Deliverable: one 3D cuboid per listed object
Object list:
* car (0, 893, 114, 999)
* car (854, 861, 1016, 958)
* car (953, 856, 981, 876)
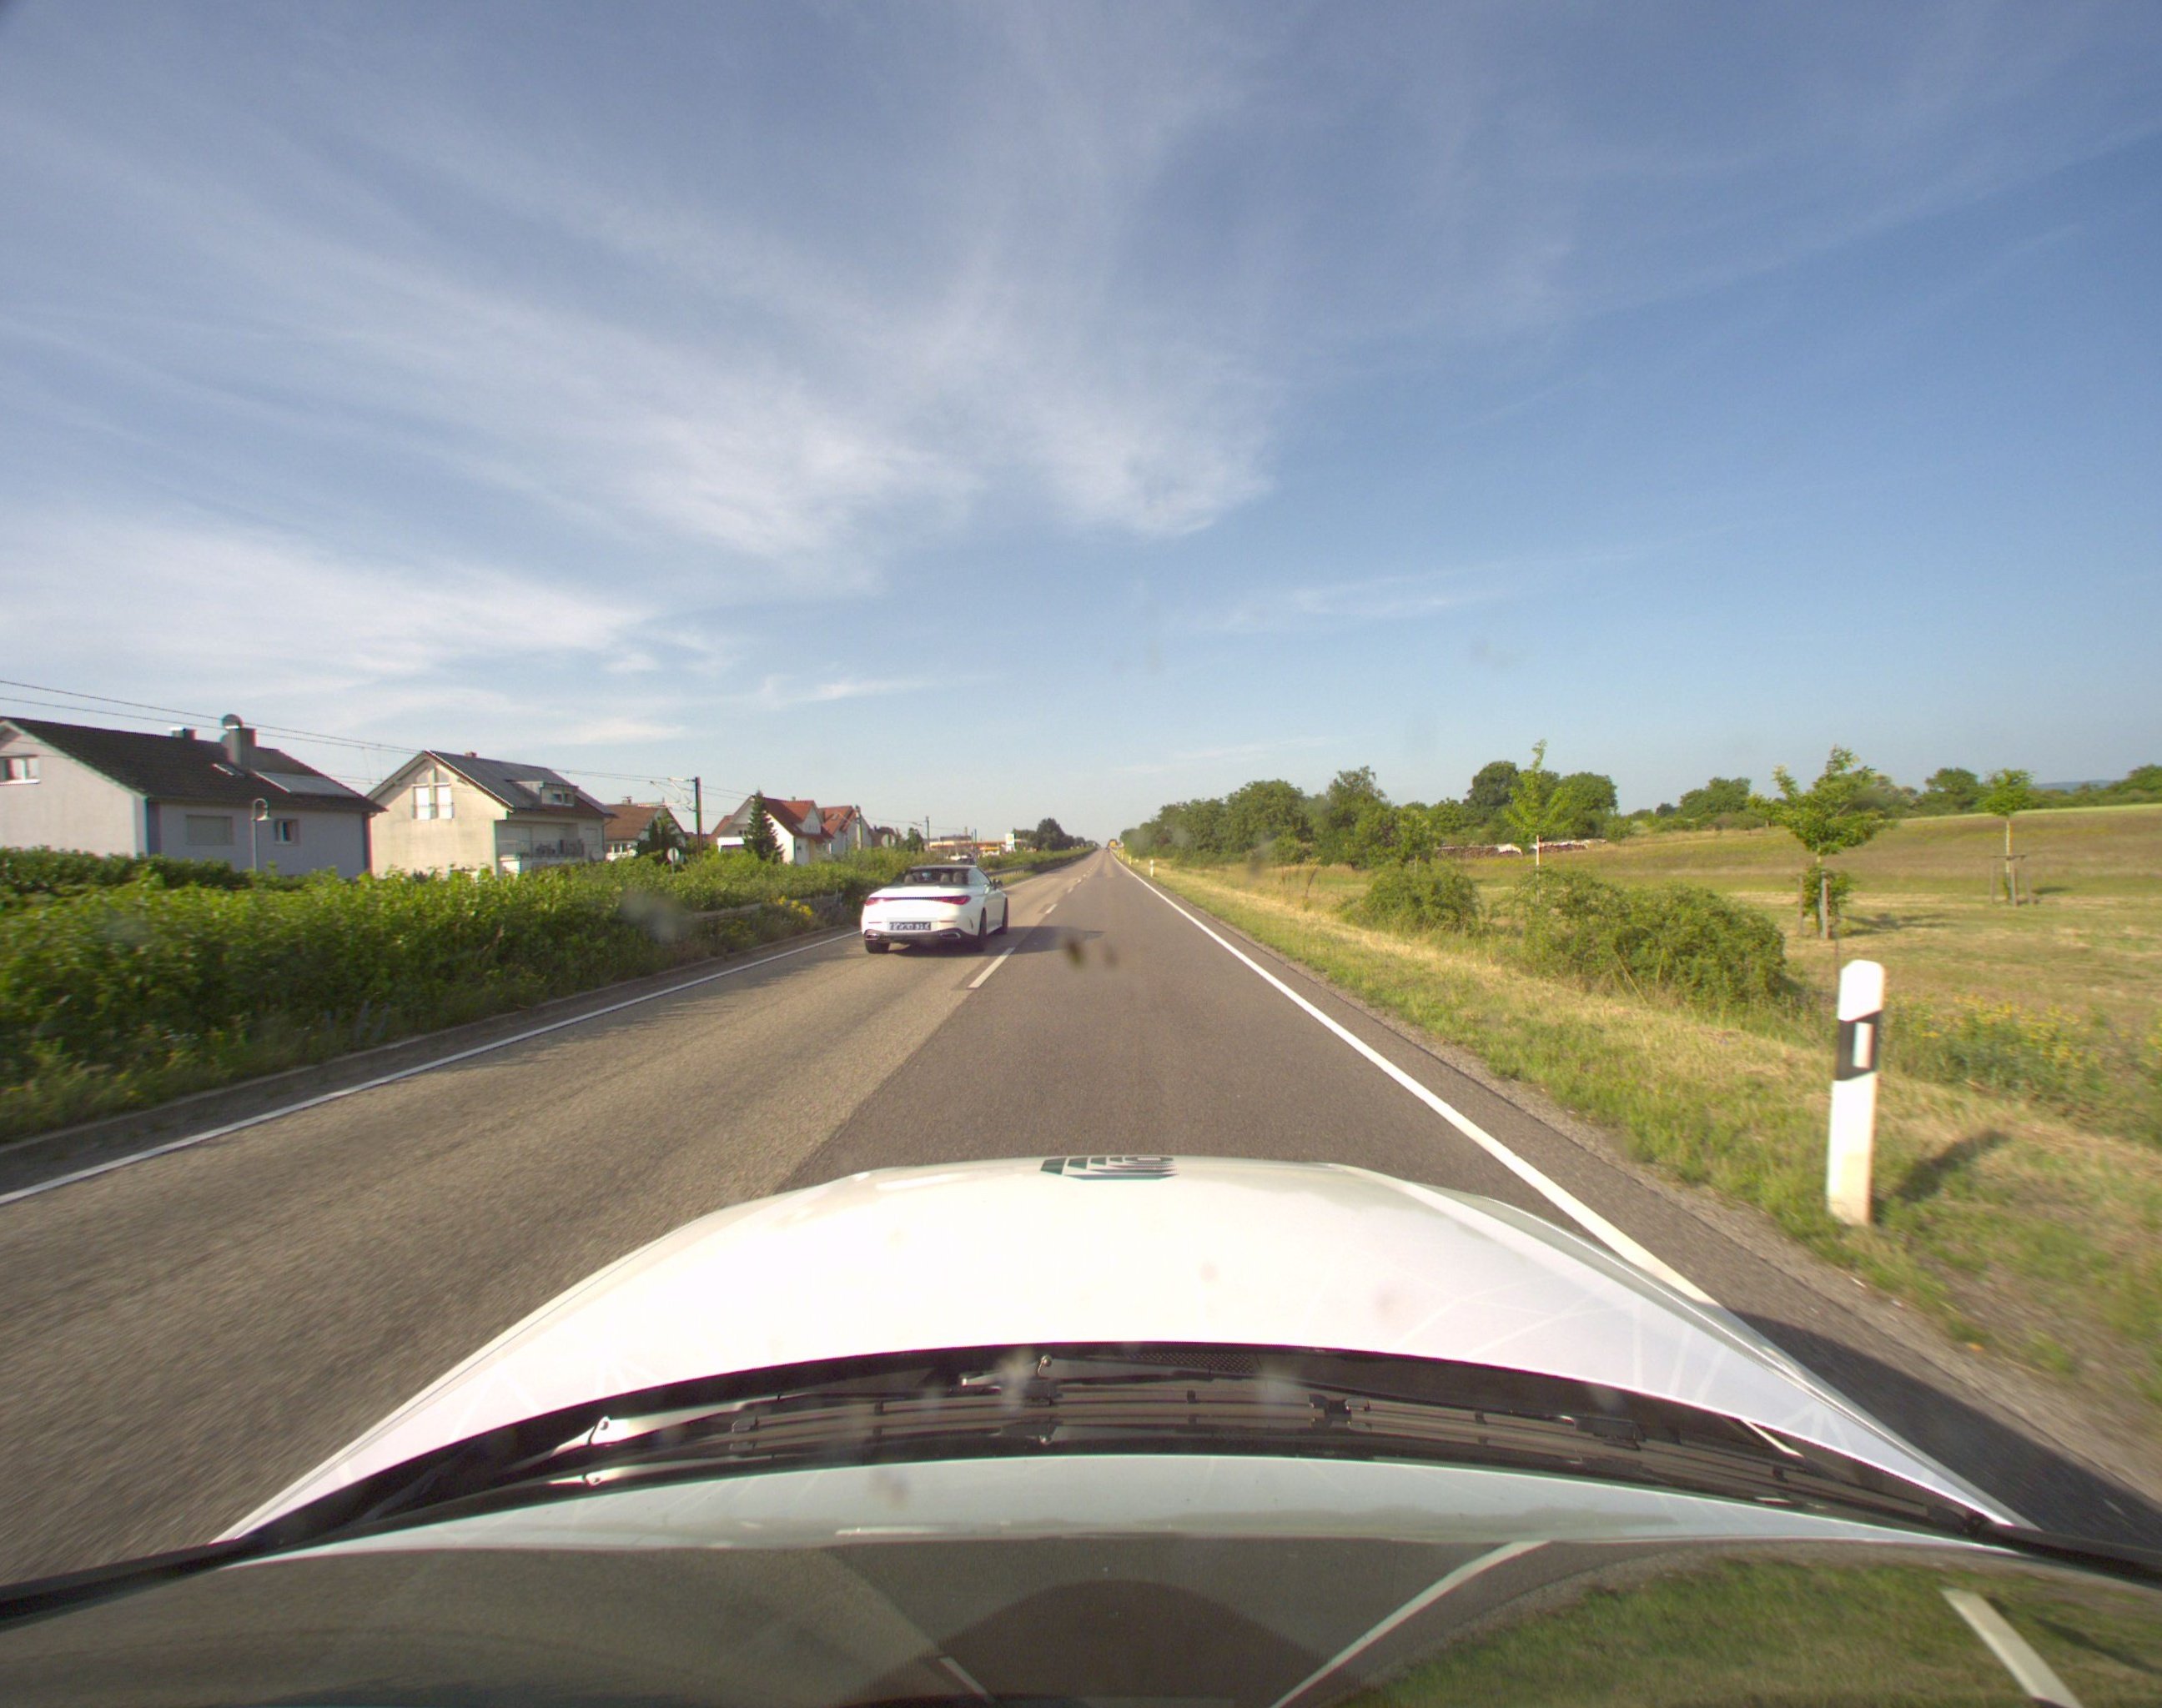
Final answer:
[{"bbox_3d":[-16.203,1.396,10.709,1.654,1.431,4.328,-4,0,1],"label":"car"},{"bbox_3d":[-2.322,0.829,14.287,1.764,1.337,4.952,-1,0,2],"label":"car"},{"bbox_3d":[-10.309,1.035,73.817,1.723,1.633,4.321,-5,0,1],"label":"car"}]
